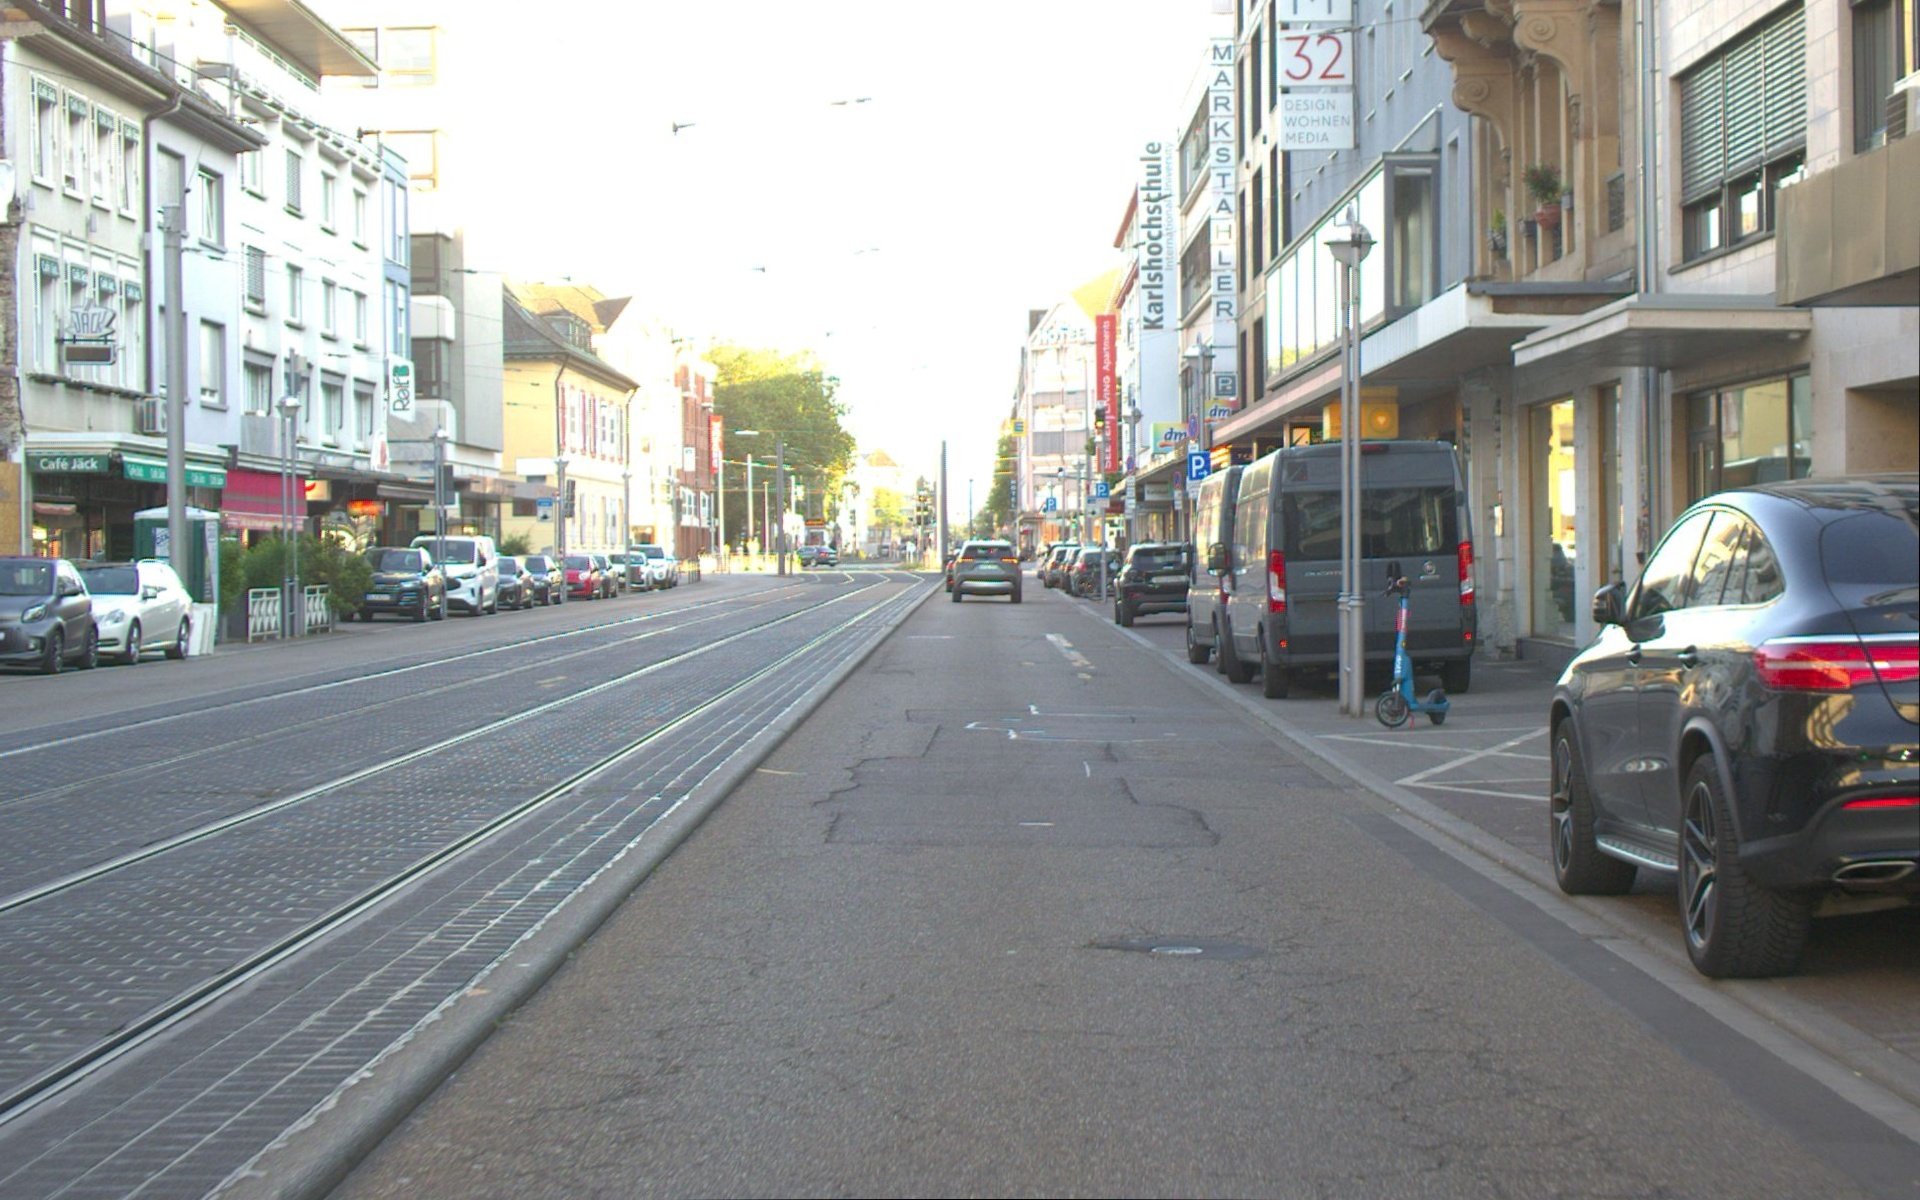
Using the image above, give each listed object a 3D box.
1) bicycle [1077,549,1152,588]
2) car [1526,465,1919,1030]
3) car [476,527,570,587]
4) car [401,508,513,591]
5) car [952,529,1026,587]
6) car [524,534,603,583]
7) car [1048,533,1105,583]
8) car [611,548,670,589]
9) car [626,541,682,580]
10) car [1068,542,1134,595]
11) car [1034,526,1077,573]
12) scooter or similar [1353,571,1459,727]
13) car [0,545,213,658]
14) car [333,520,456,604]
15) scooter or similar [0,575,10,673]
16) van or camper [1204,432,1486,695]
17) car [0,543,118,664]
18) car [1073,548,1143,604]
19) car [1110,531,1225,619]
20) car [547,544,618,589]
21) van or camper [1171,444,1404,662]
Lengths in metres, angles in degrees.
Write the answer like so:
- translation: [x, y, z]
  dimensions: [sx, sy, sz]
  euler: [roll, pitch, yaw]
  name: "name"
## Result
- translation: [4.466, -0.913, 99.684]
  dimensions: [2.118, 1.086, 0.592]
  euler: [-1, 1, -2]
  name: "bicycle"
- translation: [3.497, 0.383, 12.977]
  dimensions: [1.984, 1.728, 4.671]
  euler: [-3, 1, 1]
  name: "car"
- translation: [-11.741, -1.157, 92.596]
  dimensions: [1.917, 1.516, 4.630]
  euler: [2, 1, 0]
  name: "car"
- translation: [-12.349, -1.242, 84.661]
  dimensions: [1.917, 1.929, 4.842]
  euler: [2, 1, 1]
  name: "car"
- translation: [0.820, -1.169, 93.423]
  dimensions: [1.944, 1.539, 4.544]
  euler: [0, 1, 1]
  name: "car"
- translation: [-11.392, -1.207, 98.887]
  dimensions: [1.791, 1.334, 3.892]
  euler: [2, 1, 0]
  name: "car"
- translation: [4.206, -1.529, 124.905]
  dimensions: [1.944, 1.697, 4.544]
  euler: [-3, 1, 1]
  name: "car"
- translation: [-11.817, -1.183, 127.168]
  dimensions: [1.791, 1.444, 3.892]
  euler: [2, 1, 0]
  name: "car"
- translation: [-11.857, -1.537, 133.189]
  dimensions: [1.791, 1.444, 3.892]
  euler: [2, 1, 0]
  name: "car"
- translation: [4.454, -1.024, 109.225]
  dimensions: [1.944, 1.539, 4.544]
  euler: [-3, 1, 1]
  name: "car"
- translation: [4.520, -2.424, 163.392]
  dimensions: [1.944, 2.138, 4.544]
  euler: [-3, 1, 1]
  name: "car"
- translation: [3.680, 0.392, 28.318]
  dimensions: [0.355, 1.220, 1.113]
  euler: [-2, 1, 33]
  name: "scooter or similar"
- translation: [-12.376, -0.017, 50.064]
  dimensions: [1.849, 1.499, 4.842]
  euler: [2, 1, 1]
  name: "car"
- translation: [-12.600, -0.864, 76.874]
  dimensions: [1.917, 1.757, 4.430]
  euler: [2, 1, 1]
  name: "car"
- translation: [-12.392, 0.274, 42.275]
  dimensions: [1.314, 1.201, 0.294]
  euler: [2, 1, 2]
  name: "scooter or similar"
- translation: [3.910, -0.400, 36.057]
  dimensions: [2.188, 2.418, 6.133]
  euler: [-3, 1, 0]
  name: "van or camper"
- translation: [-12.318, 0.022, 45.542]
  dimensions: [1.591, 1.499, 2.812]
  euler: [2, 1, 0]
  name: "car"
- translation: [4.438, -0.747, 103.399]
  dimensions: [1.944, 1.539, 4.544]
  euler: [-3, 1, 1]
  name: "car"
- translation: [3.911, -0.501, 65.361]
  dimensions: [1.944, 1.539, 4.544]
  euler: [-3, 1, 1]
  name: "car"
- translation: [-11.884, -1.079, 108.506]
  dimensions: [1.791, 1.334, 3.892]
  euler: [2, 1, 0]
  name: "car"
- translation: [3.957, -0.591, 42.522]
  dimensions: [2.188, 2.418, 5.518]
  euler: [-3, 1, -1]
  name: "van or camper"
